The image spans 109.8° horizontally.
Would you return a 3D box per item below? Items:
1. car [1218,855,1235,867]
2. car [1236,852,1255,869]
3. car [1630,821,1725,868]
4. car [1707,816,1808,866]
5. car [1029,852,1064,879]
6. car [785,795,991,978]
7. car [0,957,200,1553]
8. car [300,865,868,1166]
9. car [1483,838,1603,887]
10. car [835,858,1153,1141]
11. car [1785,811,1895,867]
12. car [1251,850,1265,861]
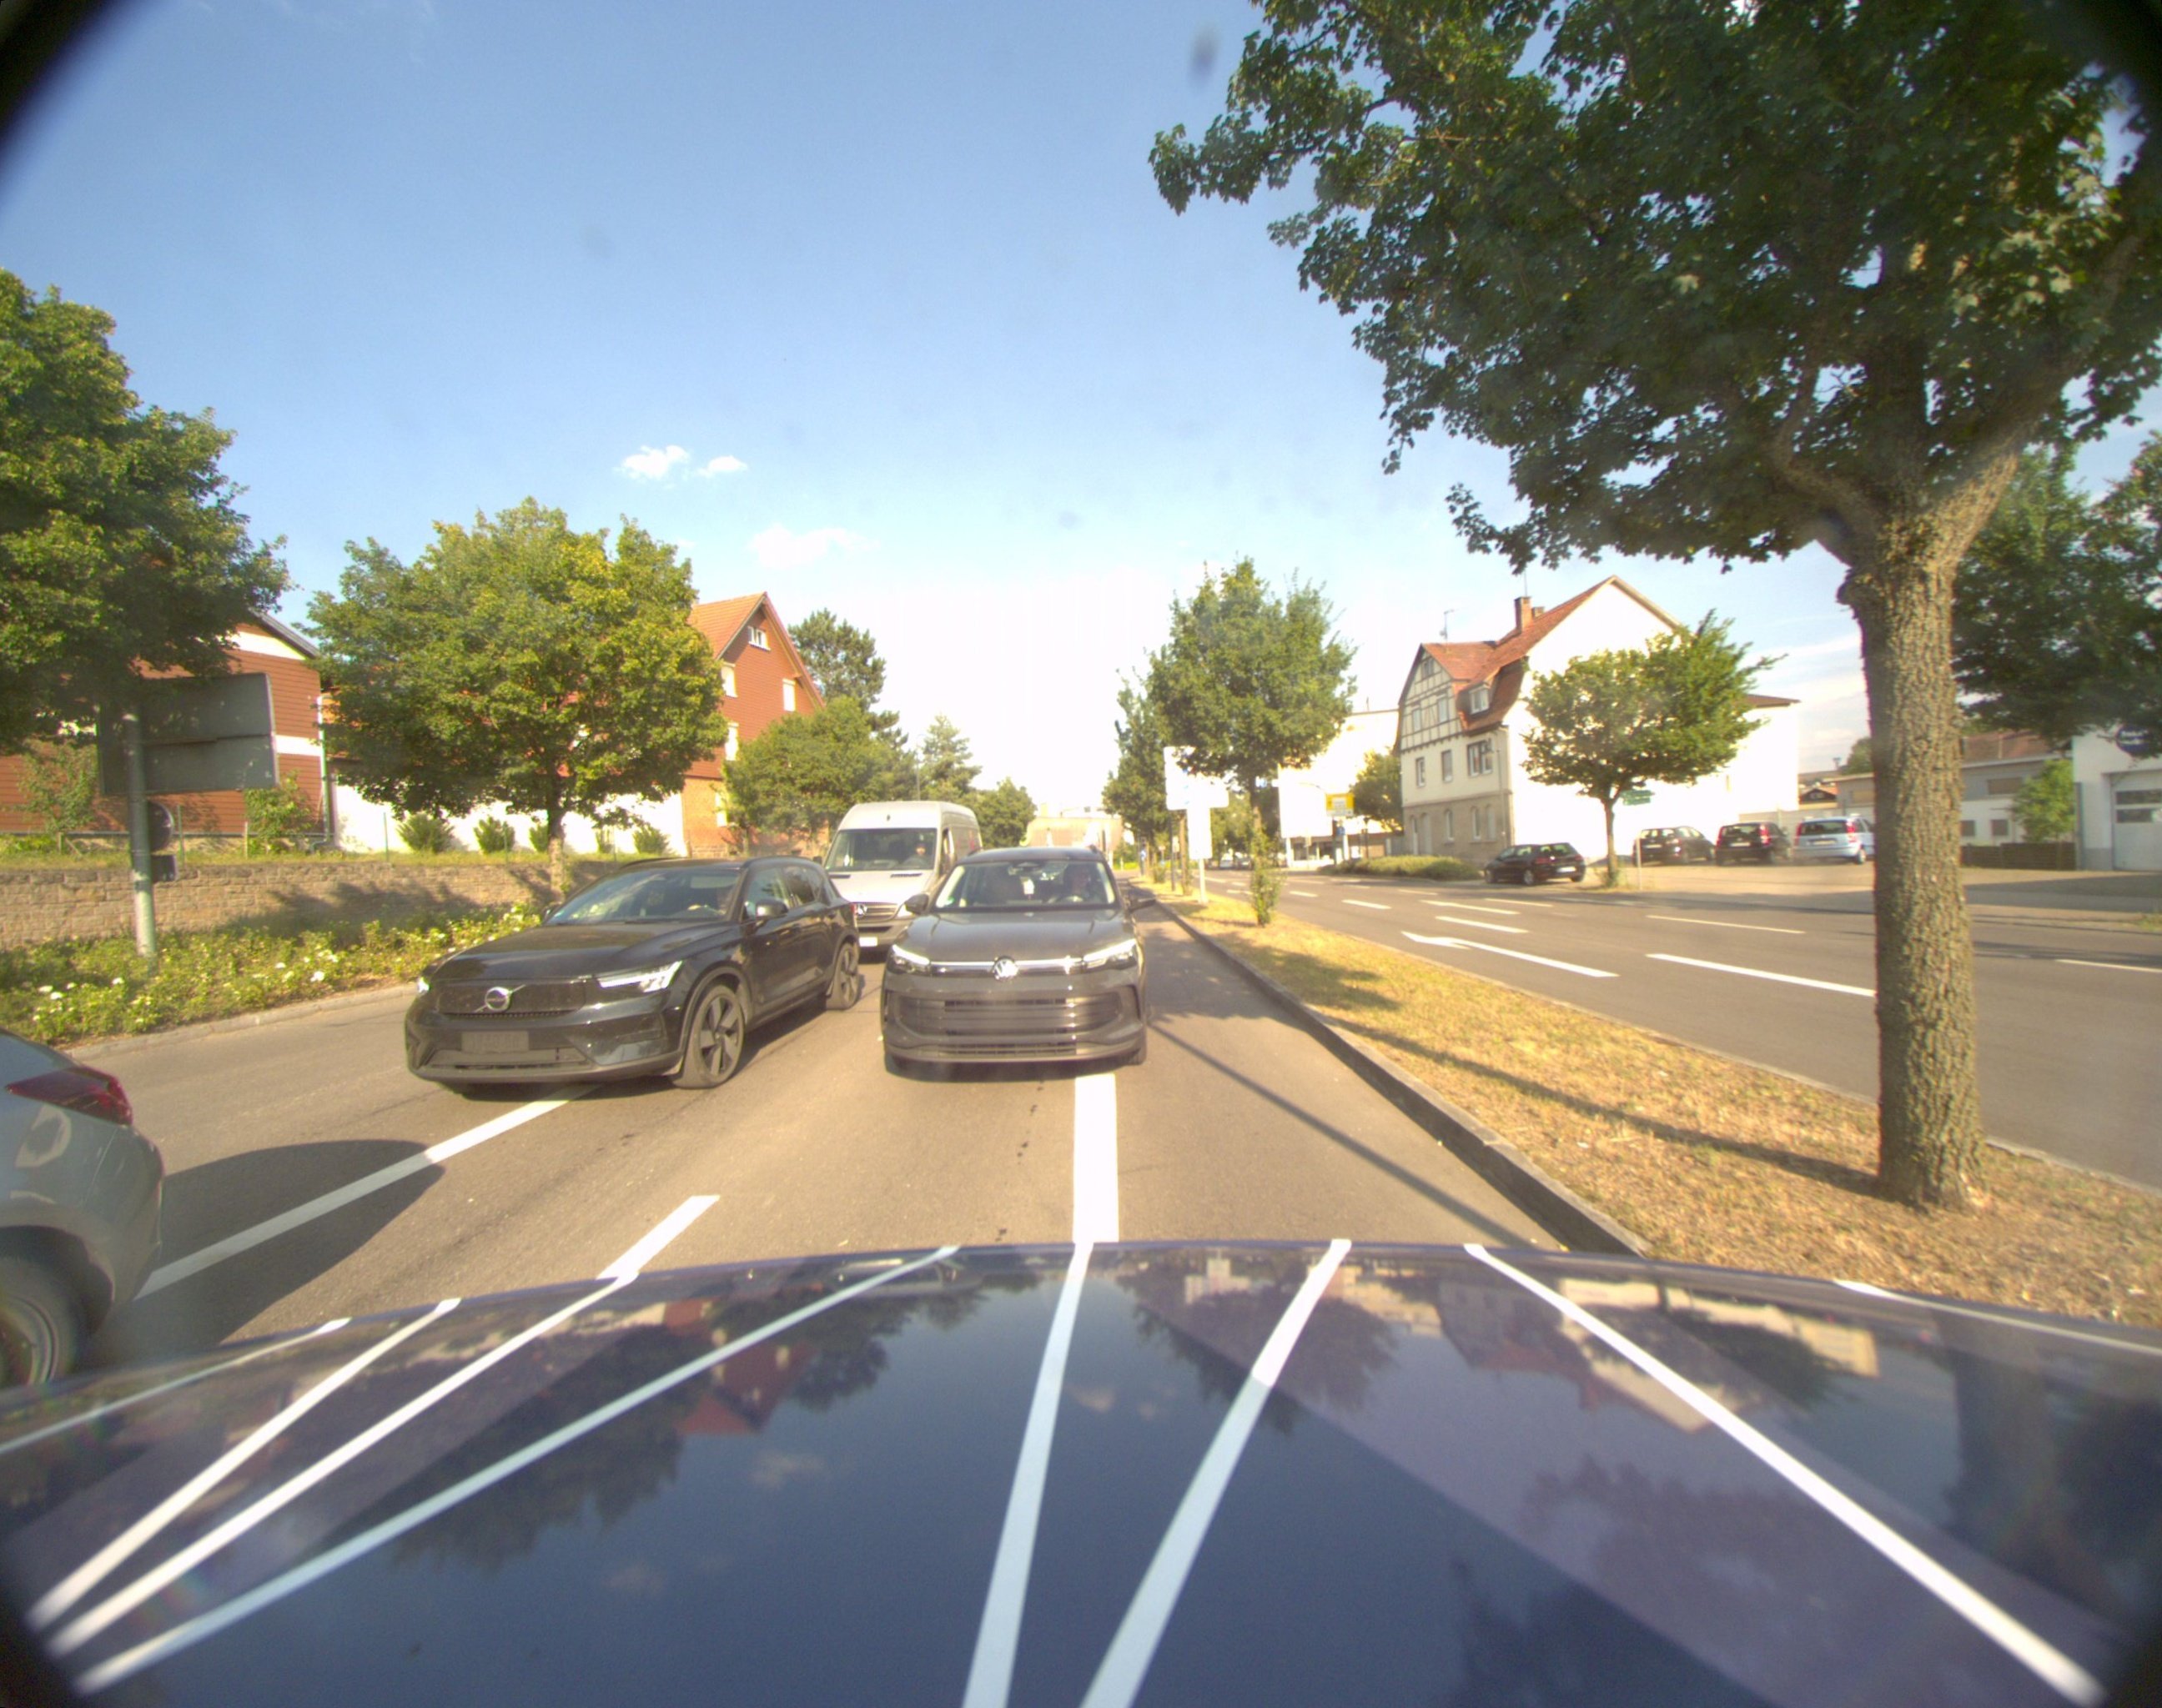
[{"bbox_3d":[19.883,0.911,103.711,1.779,1.460,4.379,-2,0,15],"label":"car"},{"bbox_3d":[17.614,0.657,81.584,1.780,1.683,4.003,-2,0,10],"label":"car"},{"bbox_3d":[23.378,-0.391,29.748,3.830,1.493,1.816,-5,0,-35],"label":"car"},{"bbox_3d":[24.656,-0.489,27.651,3.830,1.493,1.816,-5,0,-35],"label":"car"},{"bbox_3d":[-2.101,0.669,47.483,1.845,1.600,4.318,-1,0,2],"label":"car"},{"bbox_3d":[-3.071,0.451,13.708,1.992,2.554,6.046,-1,0,2],"label":"car"},{"bbox_3d":[-3.613,1.060,0.176,1.766,1.445,4.318,-1,0,0],"label":"car"},{"bbox_3d":[-3.399,0.946,6.423,1.845,1.600,4.318,-1,0,2],"label":"car"},{"bbox_3d":[16.032,0.281,26.613,1.818,1.442,3.825,-5,0,1],"label":"car"},{"bbox_3d":[-0.451,0.872,6.612,1.845,1.600,4.318,-1,0,2],"label":"car"},{"bbox_3d":[24.879,-0.502,24.886,3.830,1.493,1.816,-5,0,-35],"label":"car"},{"bbox_3d":[29.824,0.221,127.915,1.779,1.683,4.005,-2,0,20],"label":"car"}]
